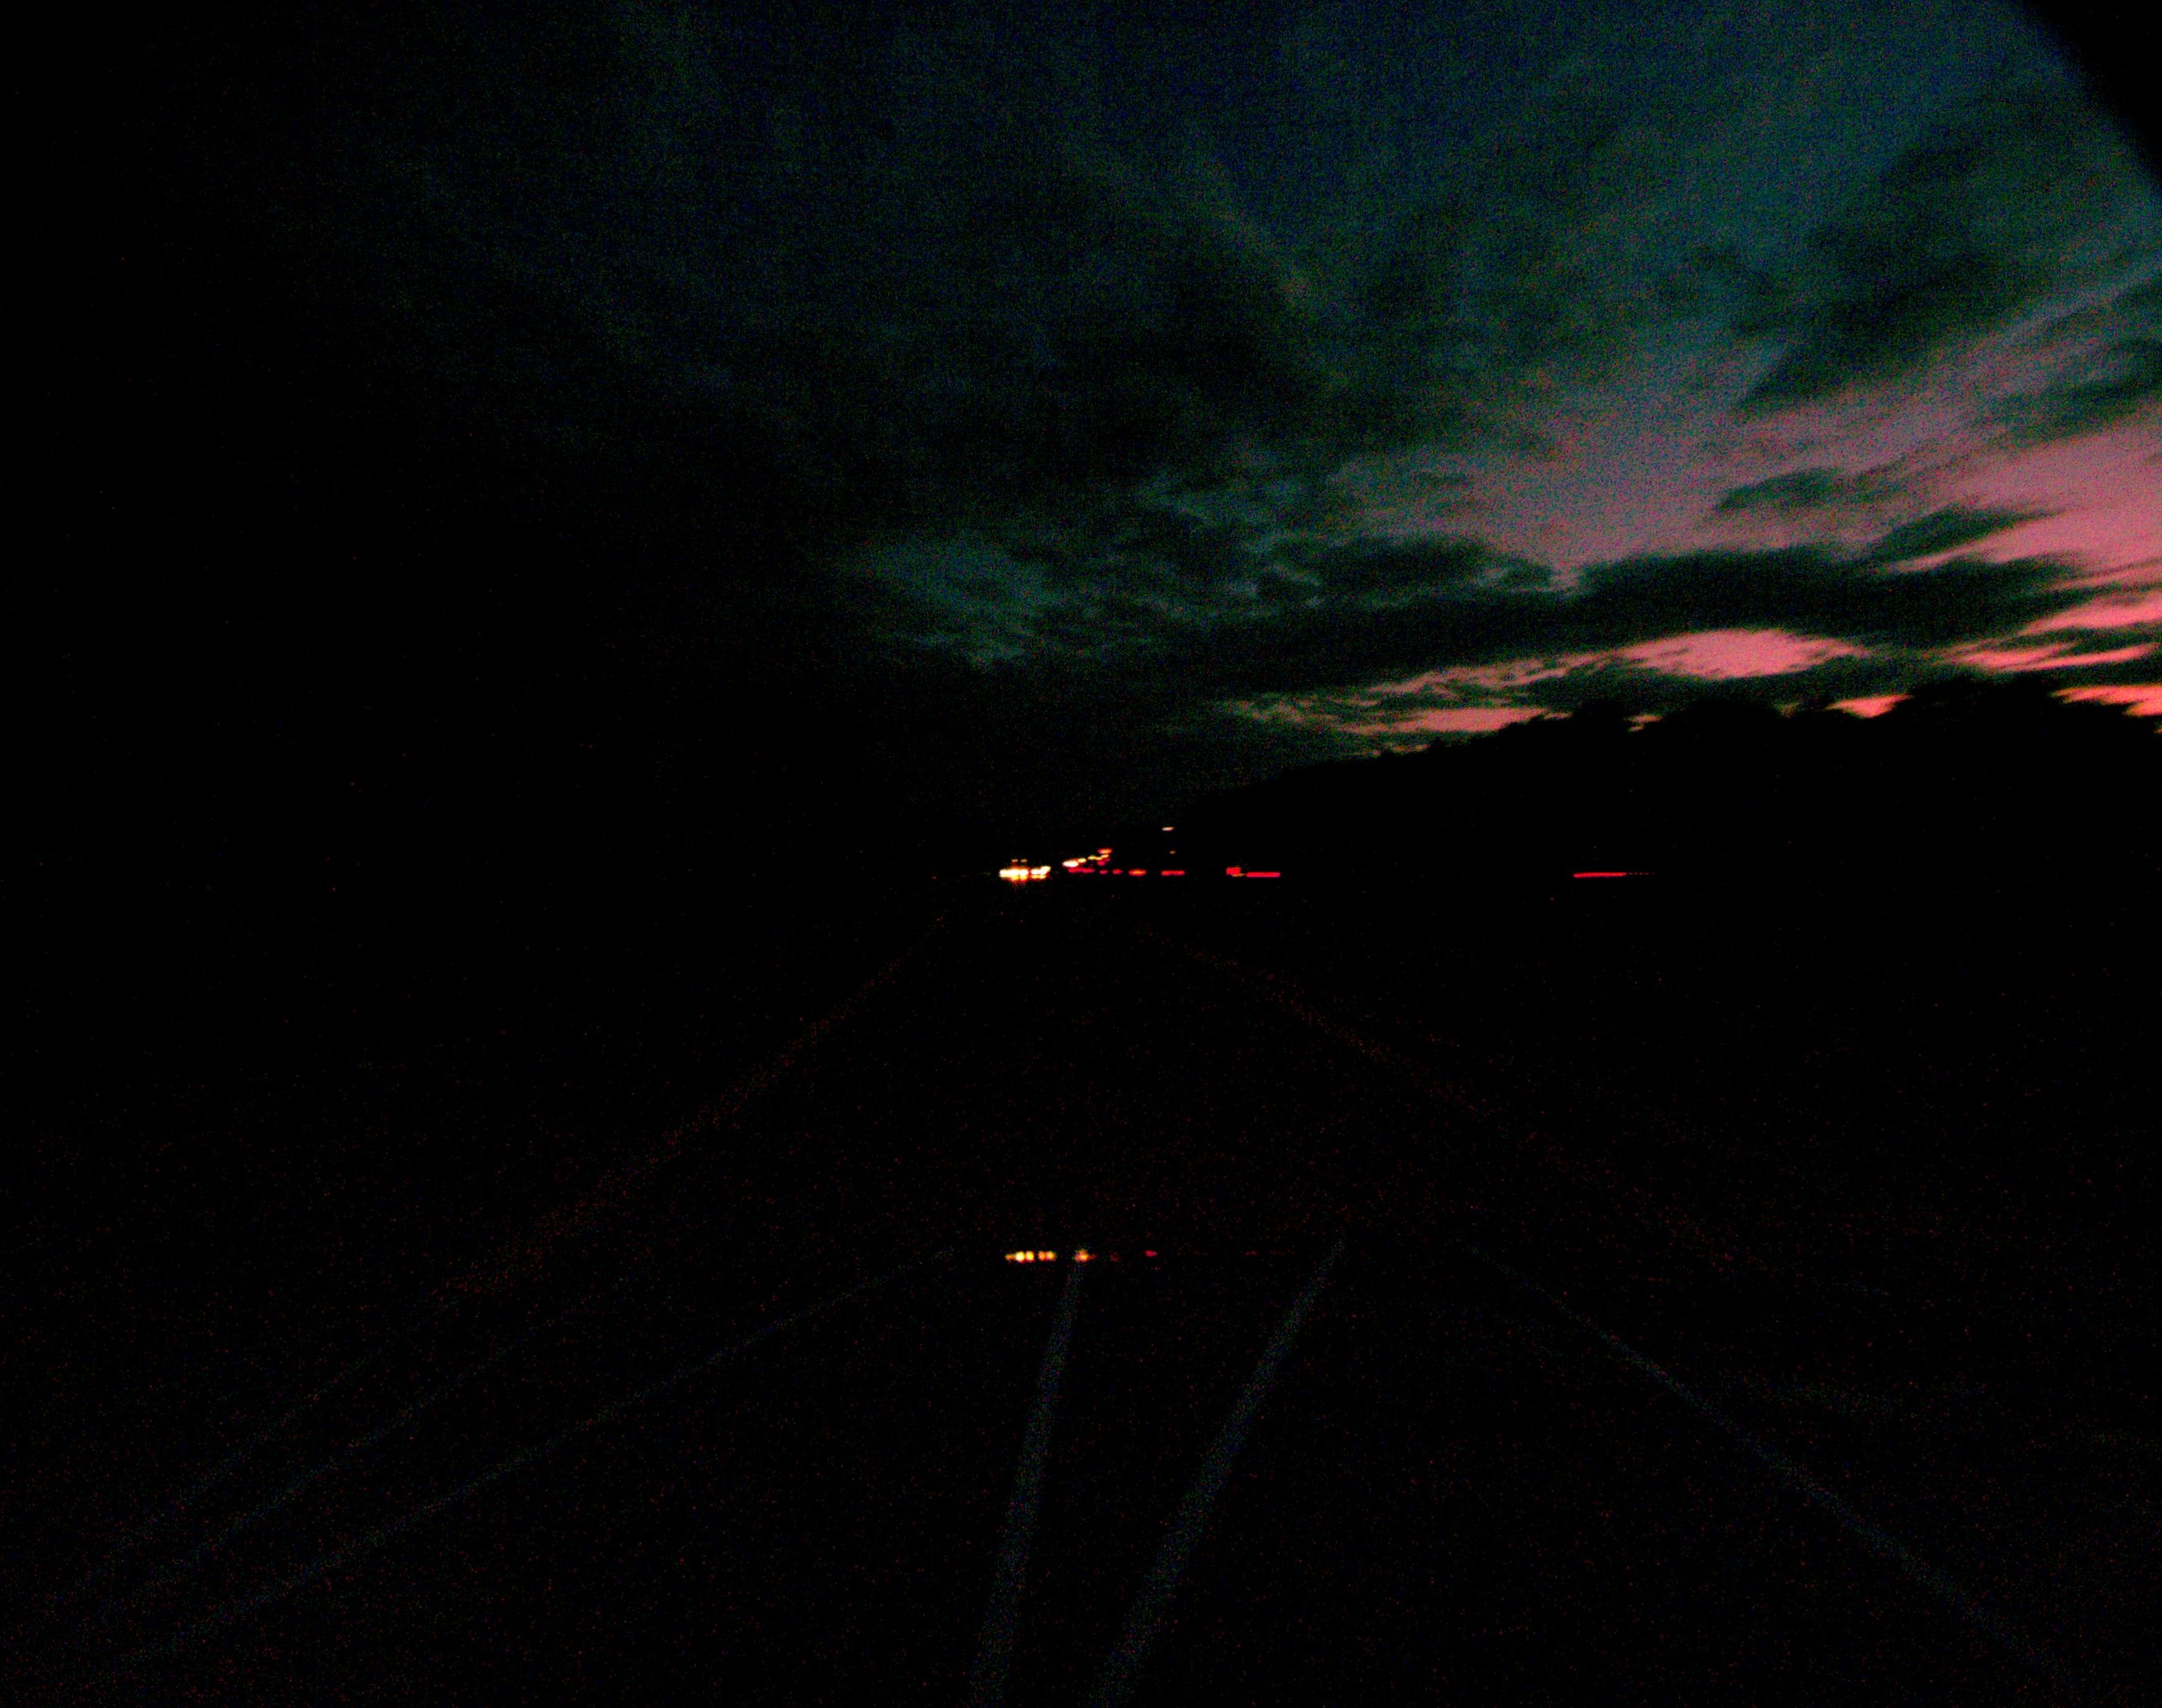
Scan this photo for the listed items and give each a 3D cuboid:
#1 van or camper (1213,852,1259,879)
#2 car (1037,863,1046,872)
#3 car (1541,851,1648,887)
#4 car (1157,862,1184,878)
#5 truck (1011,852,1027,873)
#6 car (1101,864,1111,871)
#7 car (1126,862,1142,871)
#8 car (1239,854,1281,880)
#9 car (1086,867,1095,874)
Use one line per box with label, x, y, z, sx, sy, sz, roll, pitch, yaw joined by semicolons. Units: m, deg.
van or camper;15.734;1.132;77.538;2.524;2.579;6.484;-1;0;-8
car;-8.974;3.066;171.418;1.999;2.001;3.999;0;0;-4
car;24.303;0.687;36.135;2.000;1.539;3.997;-3;0;-8
car;10.412;1.883;88.568;2.000;1.734;3.997;-3;0;-11
truck;-13.706;1.865;167.599;3.354;4.292;11.322;0;0;-4
car;6.055;3.330;183.898;1.999;1.600;4.557;-1;-1;-6
car;9.253;2.155;132.321;2.000;1.537;3.998;-1;-1;-7
car;14.584;1.067;62.111;2.000;2.002;3.997;-2;0;-8
car;2.751;5.061;228.709;2.000;2.002;3.997;-2;0;-10
